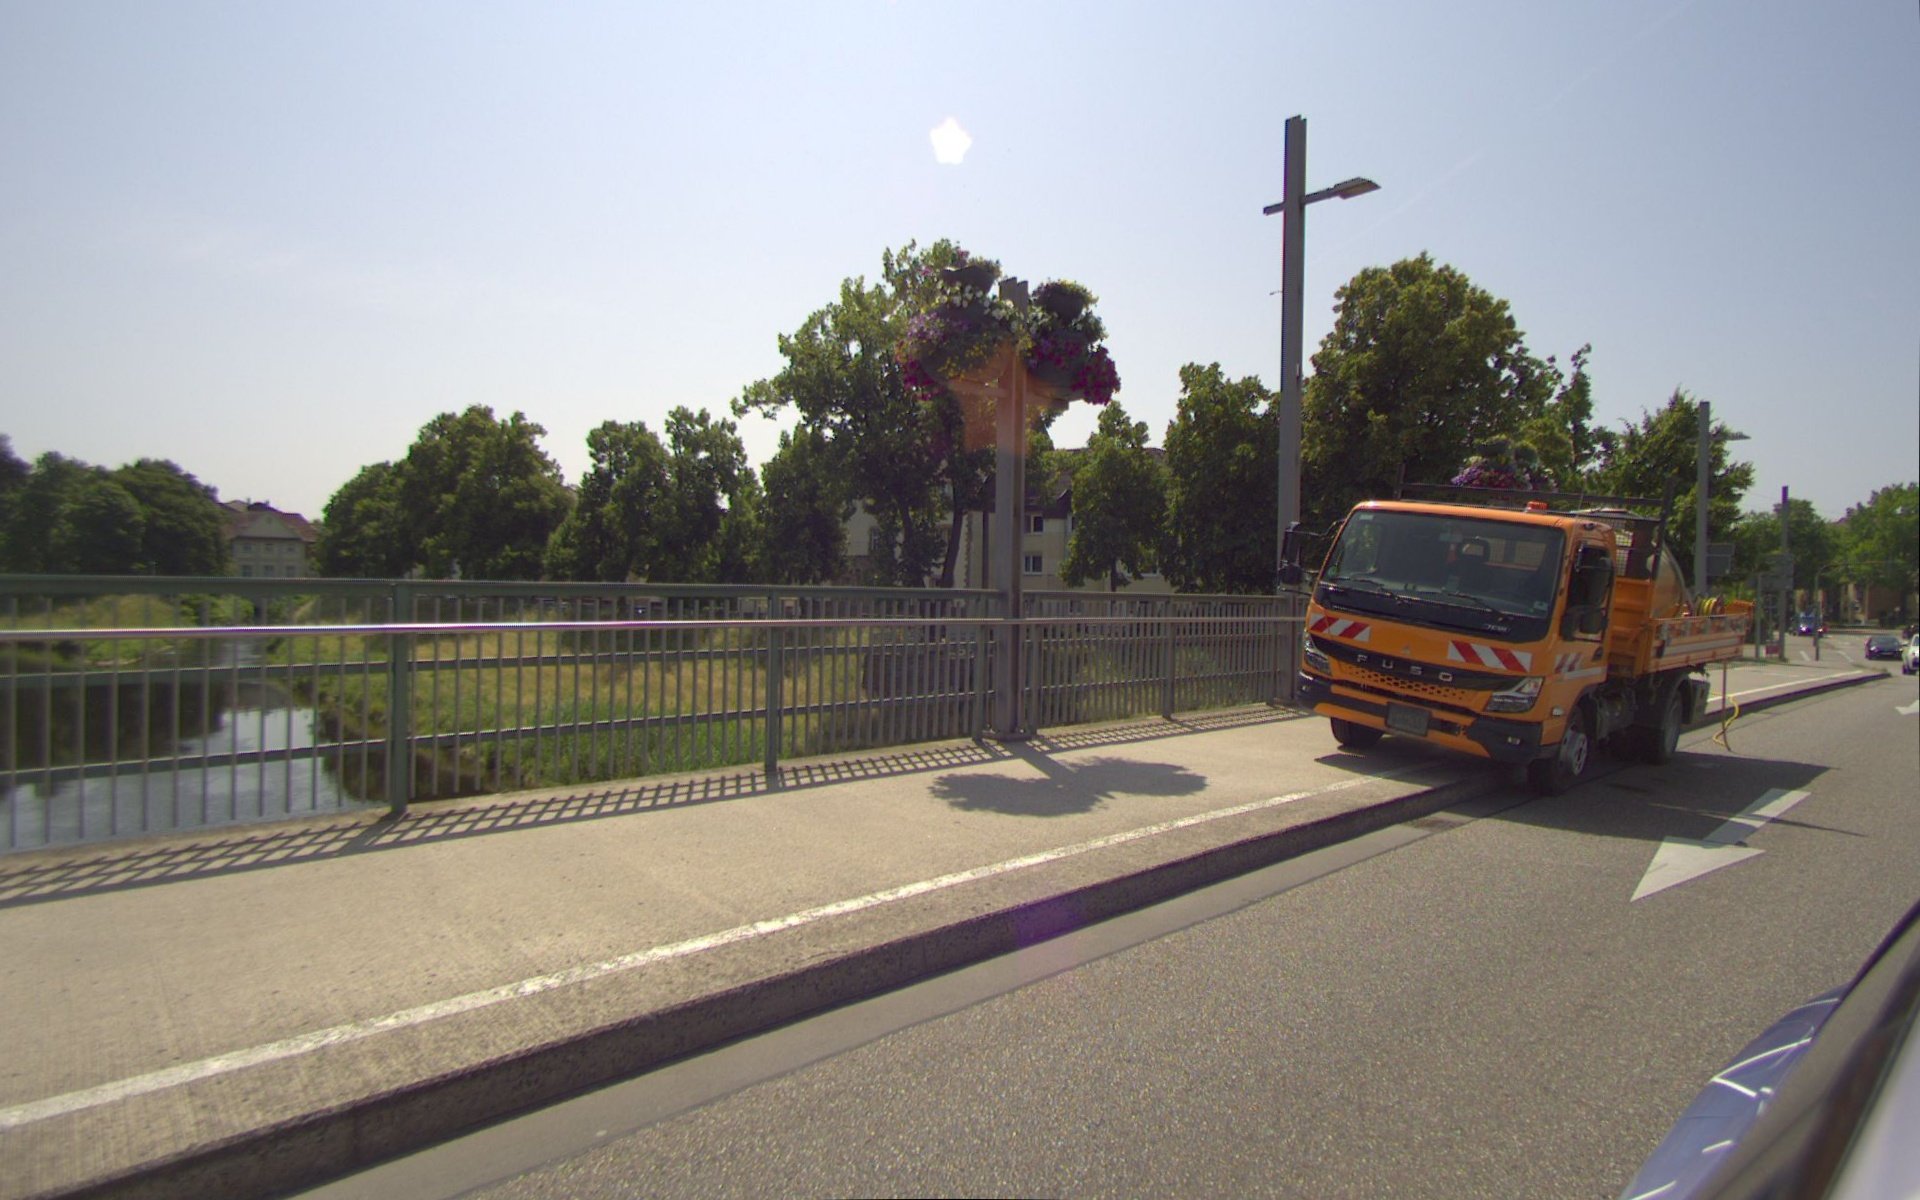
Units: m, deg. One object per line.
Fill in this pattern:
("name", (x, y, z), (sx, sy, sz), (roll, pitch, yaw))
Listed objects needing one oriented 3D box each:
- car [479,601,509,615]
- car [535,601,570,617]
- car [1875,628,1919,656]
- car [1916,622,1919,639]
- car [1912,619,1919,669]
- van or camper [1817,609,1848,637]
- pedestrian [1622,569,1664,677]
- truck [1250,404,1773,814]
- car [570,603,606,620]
("car", (-52.914, 0.922, 114.955), (3.986, 1.572, 1.799), (-2, -2, 44))
("car", (-41.984, 0.992, 104.141), (4.117, 1.572, 1.799), (-2, -2, 44))
("car", (59.033, 2.622, 63.749), (1.767, 1.507, 3.946), (0, 1, 38))
("car", (95.855, 2.984, 100.059), (1.712, 1.504, 3.973), (-1, 0, 40))
("car", (38.114, 1.678, 38.900), (1.991, 1.772, 4.380), (0, 0, 40))
("van or camper", (88.148, 2.276, 102.289), (2.155, 2.614, 5.764), (0, 1, 39))
("pedestrian", (12.821, 0.419, 18.993), (0.546, 1.984, 0.663), (1, 1, 41))
("truck", (5.493, 0.051, 9.630), (5.723, 2.725, 2.610), (1, 1, -42))
("car", (-36.667, 1.149, 99.744), (3.987, 1.572, 1.799), (1, -1, 44))
